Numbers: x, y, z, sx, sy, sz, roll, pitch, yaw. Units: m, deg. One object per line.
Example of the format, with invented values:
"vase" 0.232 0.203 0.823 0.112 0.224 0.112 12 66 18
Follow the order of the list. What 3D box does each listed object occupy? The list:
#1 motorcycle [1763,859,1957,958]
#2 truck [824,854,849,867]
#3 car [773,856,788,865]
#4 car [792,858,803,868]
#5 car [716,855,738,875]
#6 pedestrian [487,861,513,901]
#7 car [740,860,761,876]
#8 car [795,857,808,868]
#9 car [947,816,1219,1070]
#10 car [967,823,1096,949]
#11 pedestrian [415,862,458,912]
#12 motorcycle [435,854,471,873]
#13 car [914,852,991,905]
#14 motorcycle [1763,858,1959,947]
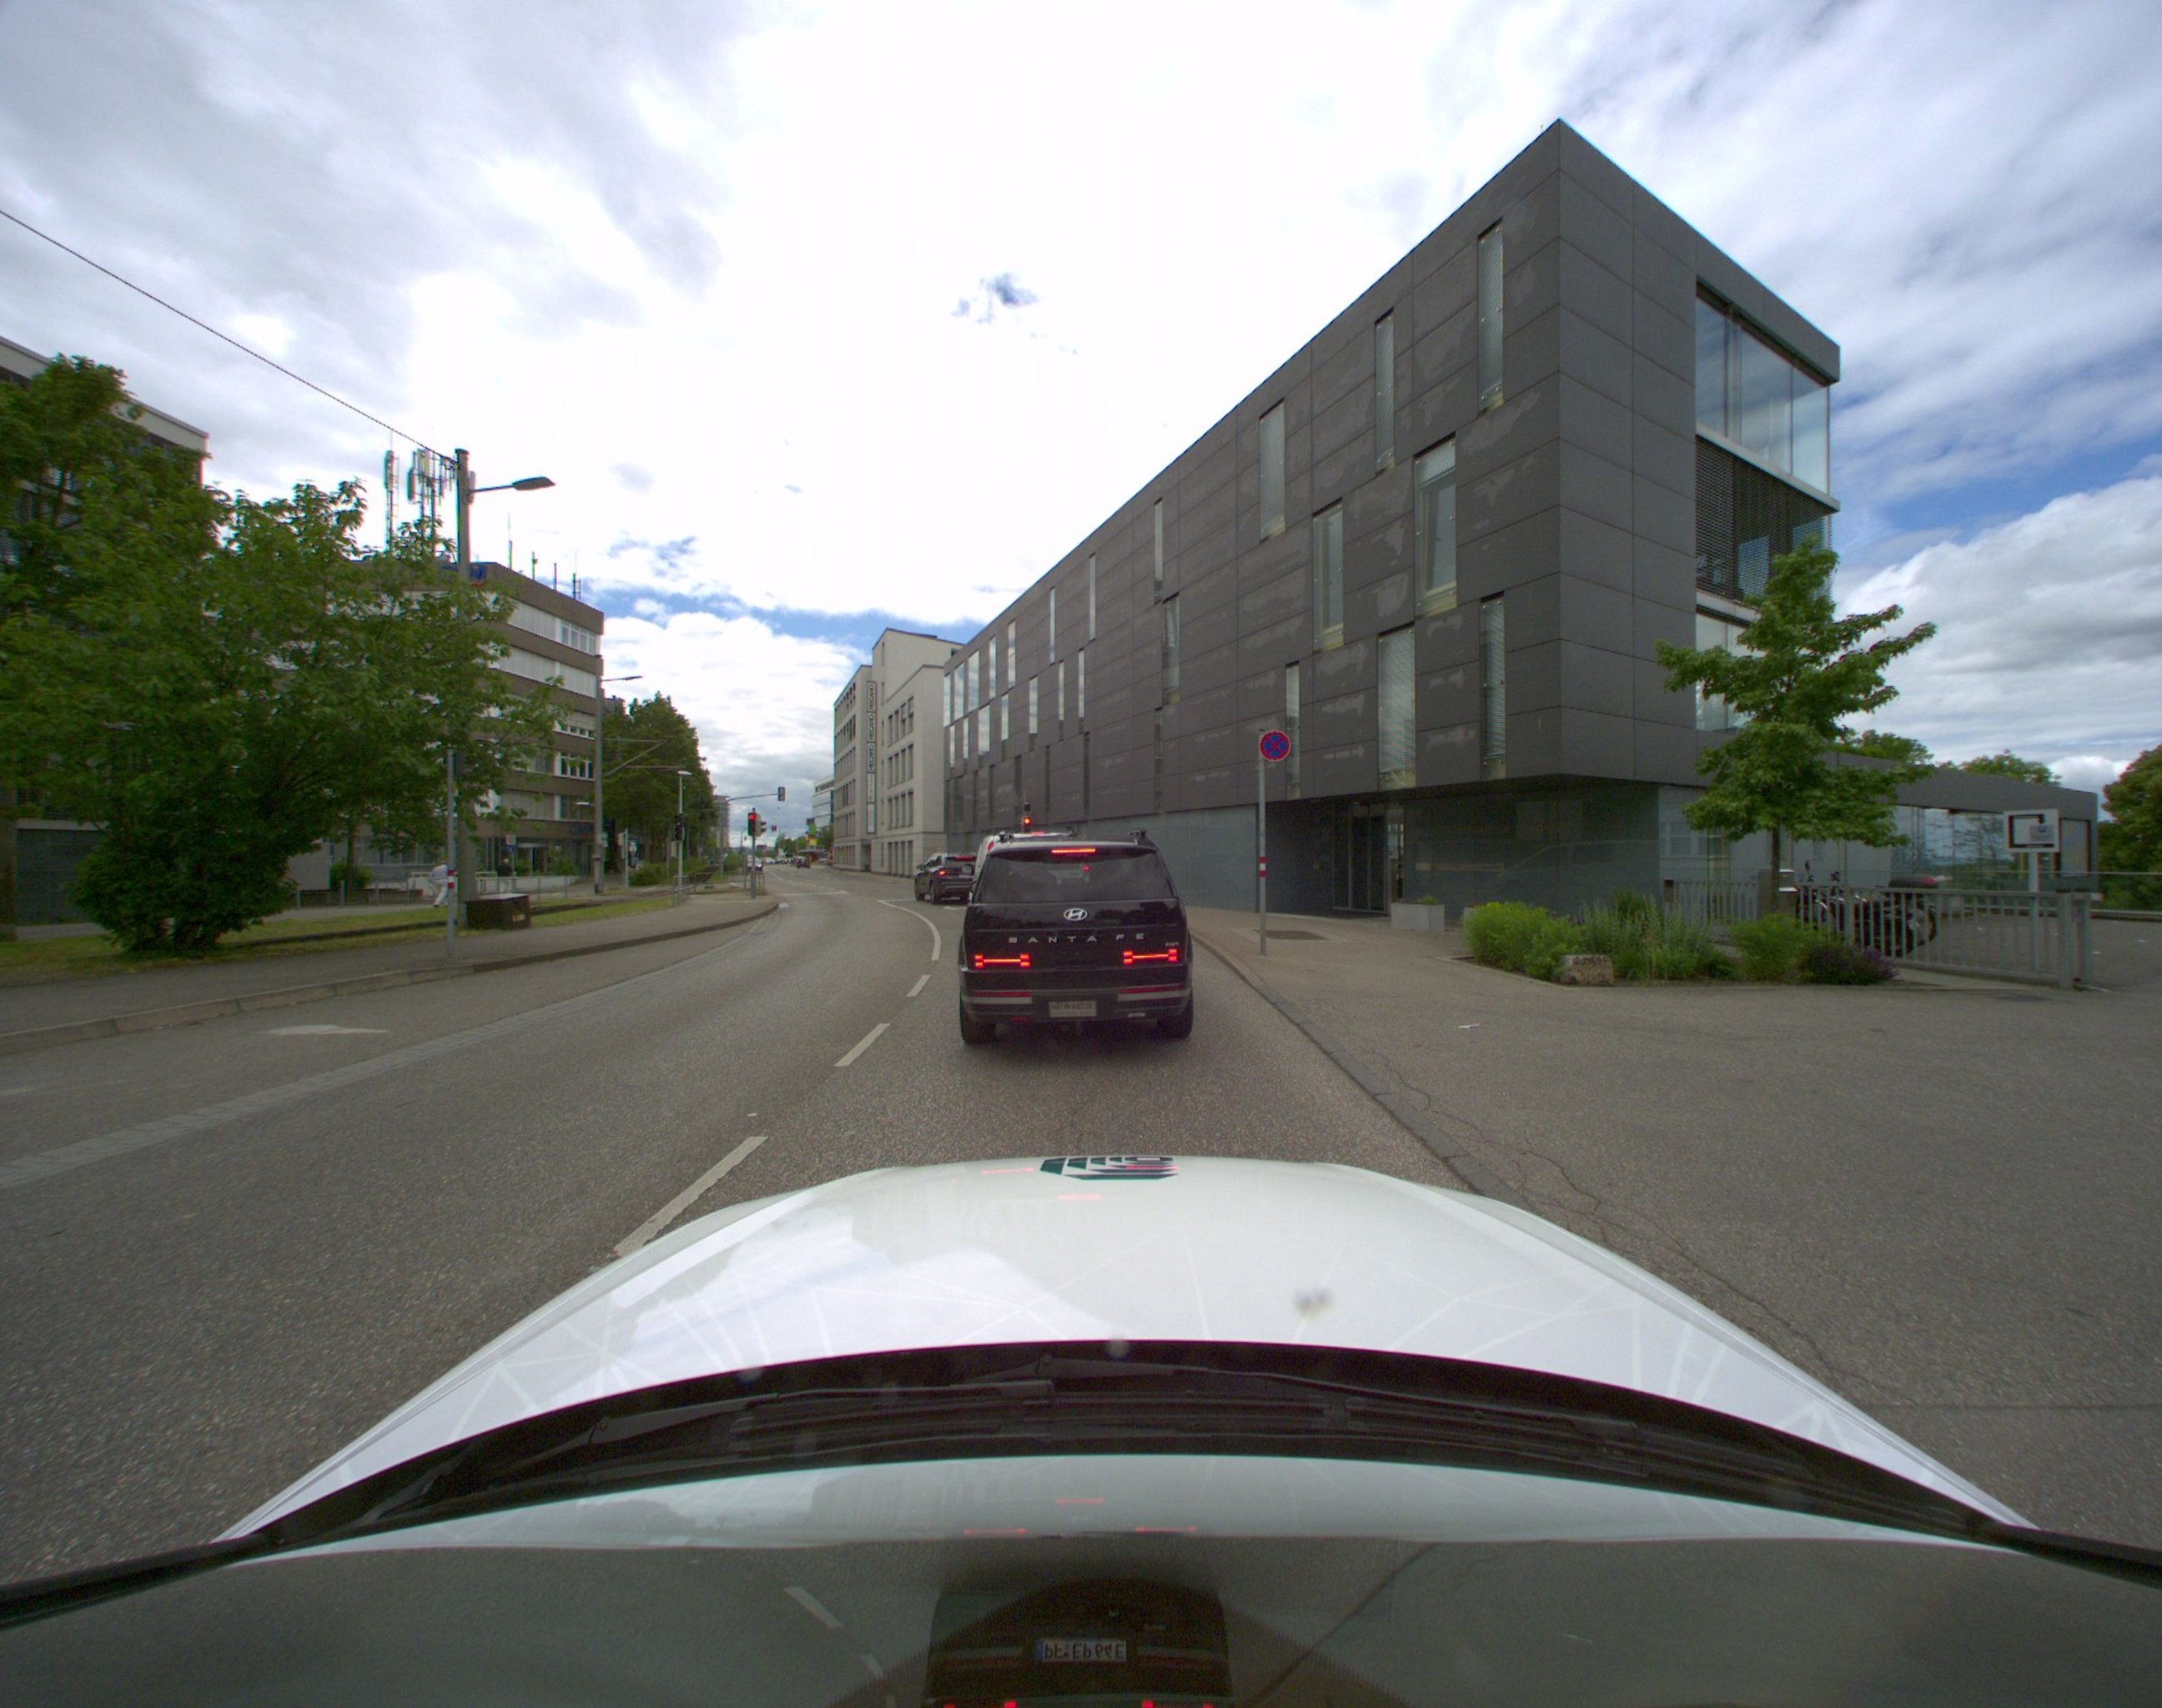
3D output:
"motorcycle" 11.989 0.775 12.647 0.669 1.393 2.112 0 0 -17
"truck" -40.059 1.015 133.339 2.009 2.013 6.333 0 0 -36
"car" -64.311 1.314 174.299 2.009 1.852 3.956 0 0 -35
"car" -47.939 1.476 137.564 1.765 1.609 4.159 0 0 -20
"car" -35.470 1.093 81.680 1.687 1.808 4.322 -2 0 -20
"pedestrian" -25.477 1.185 35.722 0.689 1.705 0.679 -2 0 -14
"car" -32.957 1.352 81.337 1.774 1.479 3.972 -2 0 -21
"car" -41.505 1.304 120.838 1.765 1.609 4.159 0 0 -20
"car" -0.128 0.622 7.972 1.905 1.749 4.390 -1 0 -4
"car" -1.094 0.501 15.302 1.932 1.994 4.519 0 0 -10
"pedestrian" -20.858 1.050 26.368 0.852 1.526 0.987 -2 0 -25
"motorcycle" -41.267 0.631 53.536 1.874 1.199 0.568 -1 0 -2
"car" -4.366 0.744 27.121 1.765 1.609 4.159 0 0 -20
"motorcycle" 13.418 0.770 14.150 0.669 1.393 2.449 0 0 -17
